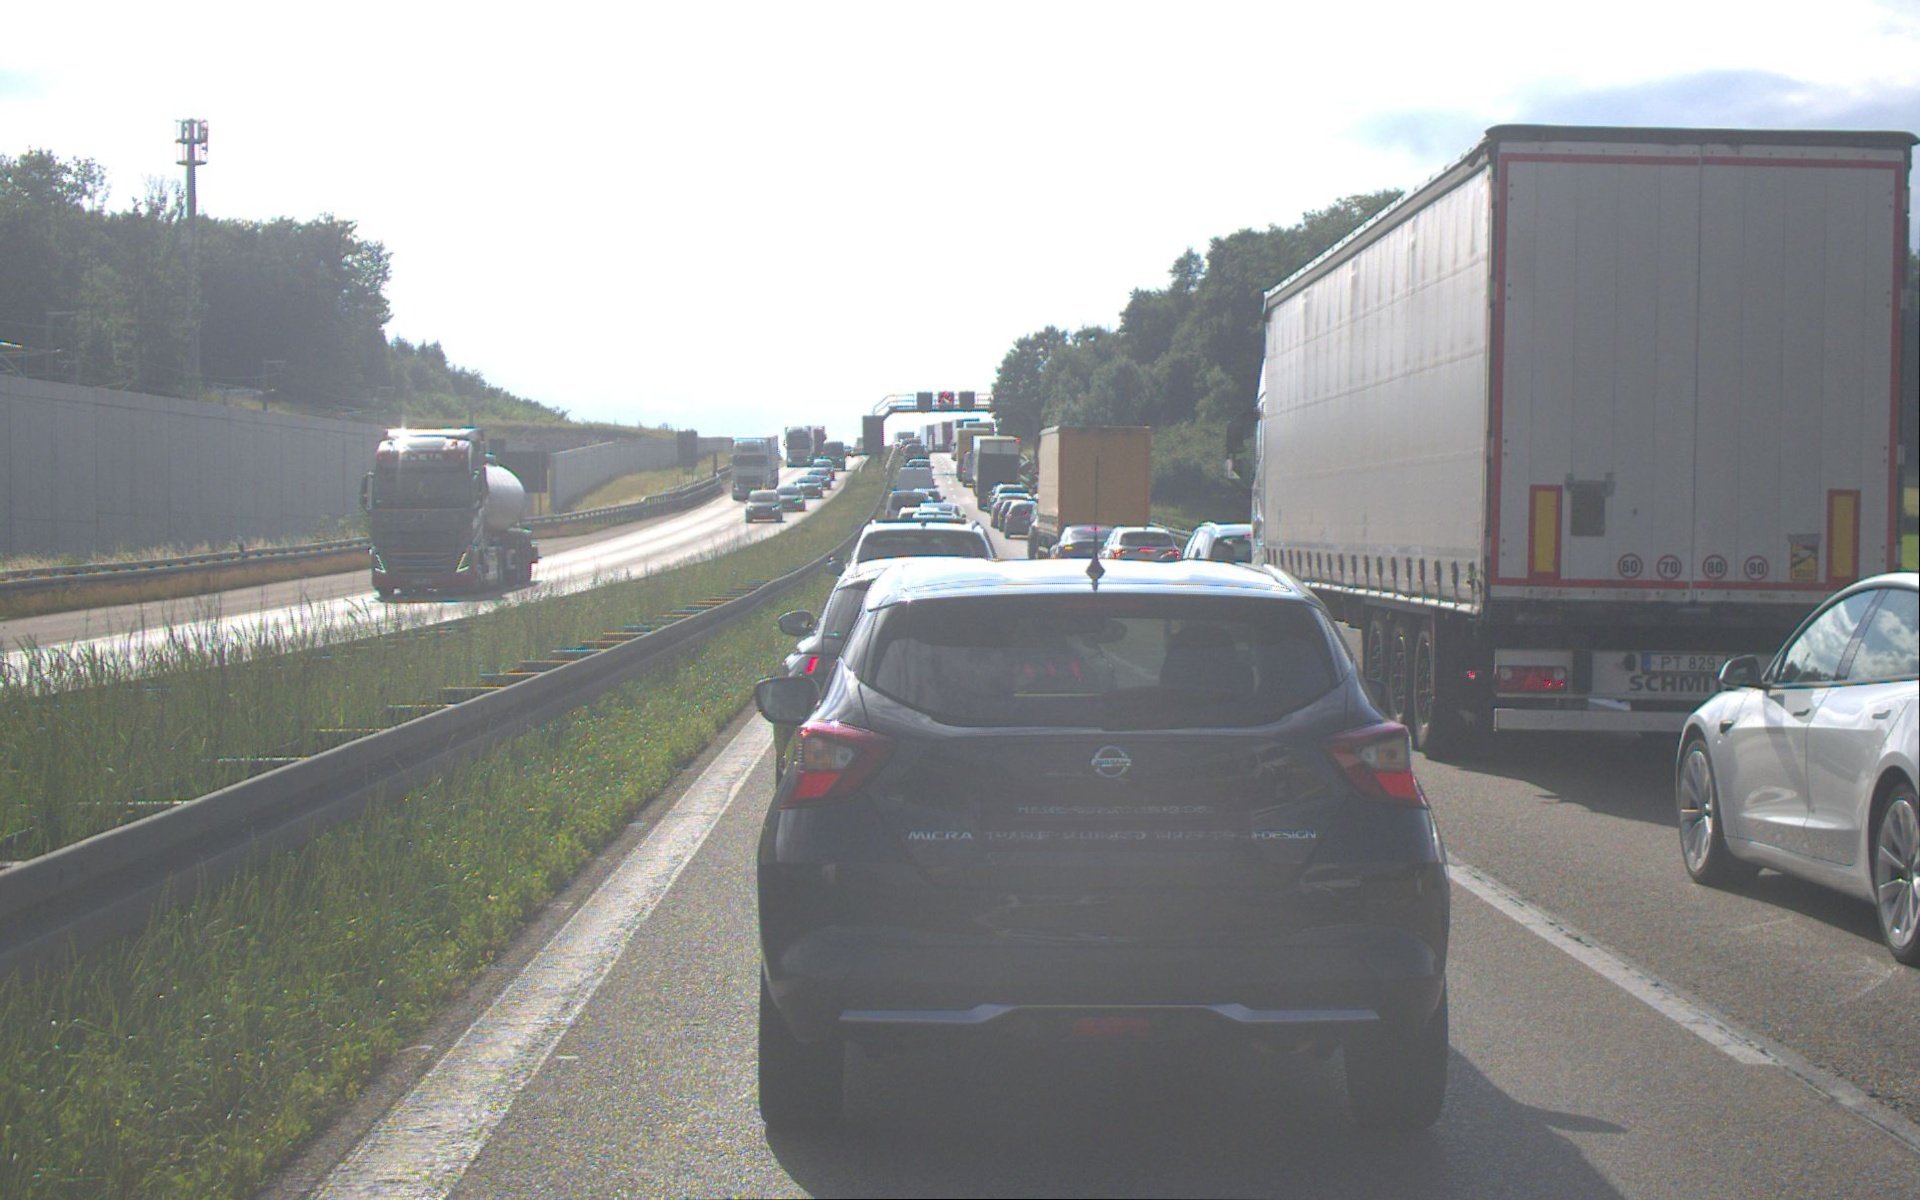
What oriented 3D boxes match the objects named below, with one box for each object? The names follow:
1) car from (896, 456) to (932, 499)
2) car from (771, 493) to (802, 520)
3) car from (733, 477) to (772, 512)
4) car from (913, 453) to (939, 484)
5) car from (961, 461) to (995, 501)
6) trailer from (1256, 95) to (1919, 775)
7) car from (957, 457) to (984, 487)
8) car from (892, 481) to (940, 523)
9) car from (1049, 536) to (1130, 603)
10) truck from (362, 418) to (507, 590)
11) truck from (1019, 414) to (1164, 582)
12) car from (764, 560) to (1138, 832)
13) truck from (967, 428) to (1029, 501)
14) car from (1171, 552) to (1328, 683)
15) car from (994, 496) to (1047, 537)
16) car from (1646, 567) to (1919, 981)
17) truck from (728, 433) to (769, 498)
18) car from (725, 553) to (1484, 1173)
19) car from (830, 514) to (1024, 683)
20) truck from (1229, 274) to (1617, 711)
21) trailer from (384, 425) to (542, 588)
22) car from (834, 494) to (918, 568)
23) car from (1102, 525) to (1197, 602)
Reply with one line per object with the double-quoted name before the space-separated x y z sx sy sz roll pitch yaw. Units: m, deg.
"car" -2.446 -6.569 183.427 1.873 2.151 5.212 0 4 -1
"car" -10.152 -5.457 201.145 1.697 1.494 4.427 0 1 -1
"car" -10.713 -5.456 177.866 1.781 1.731 4.102 0 1 0
"car" -2.490 -9.654 252.022 1.873 2.151 5.212 0 4 -1
"car" 1.042 -6.952 200.091 1.873 2.151 5.212 0 4 -1
"trailer" 4.504 -0.971 27.032 3.130 3.997 13.366 1 0 0
"car" 0.769 -9.509 255.141 1.873 2.151 5.212 0 4 -1
"car" -1.802 -4.008 139.657 1.873 1.638 4.233 0 2 -2
"car" 3.261 -0.802 87.248 1.873 1.638 4.232 0 1 0
"truck" -12.535 -2.261 82.383 2.582 3.909 5.722 -1 1 -1
"truck" 3.710 -2.837 100.658 3.296 4.562 12.442 1 0 -2
"car" -0.062 0.458 19.355 1.873 1.353 4.232 0 1 0
"truck" 2.428 -8.877 225.622 3.464 4.561 12.443 1 2 -2
"car" 3.689 0.189 44.469 1.697 1.605 4.437 0 1 1
"car" 2.505 -3.497 143.063 1.873 1.638 4.233 0 2 -4
"car" 4.130 0.590 13.514 1.788 1.389 4.437 0 1 -3
"truck" -14.156 -9.000 230.271 2.380 4.167 5.932 -1 1 -1
"car" 0.322 0.586 10.150 1.773 1.446 4.232 0 1 0
"car" -0.338 -0.045 35.425 1.873 1.638 4.232 0 1 0
"truck" 4.489 -1.000 34.394 3.133 4.002 5.163 1 0 0
"trailer" -12.654 -2.328 88.331 2.588 3.888 10.865 -1 1 -1
"car" -1.926 -1.619 79.688 1.873 1.638 4.233 0 2 0
"car" 4.263 -0.849 77.743 1.873 1.638 4.233 0 2 0
